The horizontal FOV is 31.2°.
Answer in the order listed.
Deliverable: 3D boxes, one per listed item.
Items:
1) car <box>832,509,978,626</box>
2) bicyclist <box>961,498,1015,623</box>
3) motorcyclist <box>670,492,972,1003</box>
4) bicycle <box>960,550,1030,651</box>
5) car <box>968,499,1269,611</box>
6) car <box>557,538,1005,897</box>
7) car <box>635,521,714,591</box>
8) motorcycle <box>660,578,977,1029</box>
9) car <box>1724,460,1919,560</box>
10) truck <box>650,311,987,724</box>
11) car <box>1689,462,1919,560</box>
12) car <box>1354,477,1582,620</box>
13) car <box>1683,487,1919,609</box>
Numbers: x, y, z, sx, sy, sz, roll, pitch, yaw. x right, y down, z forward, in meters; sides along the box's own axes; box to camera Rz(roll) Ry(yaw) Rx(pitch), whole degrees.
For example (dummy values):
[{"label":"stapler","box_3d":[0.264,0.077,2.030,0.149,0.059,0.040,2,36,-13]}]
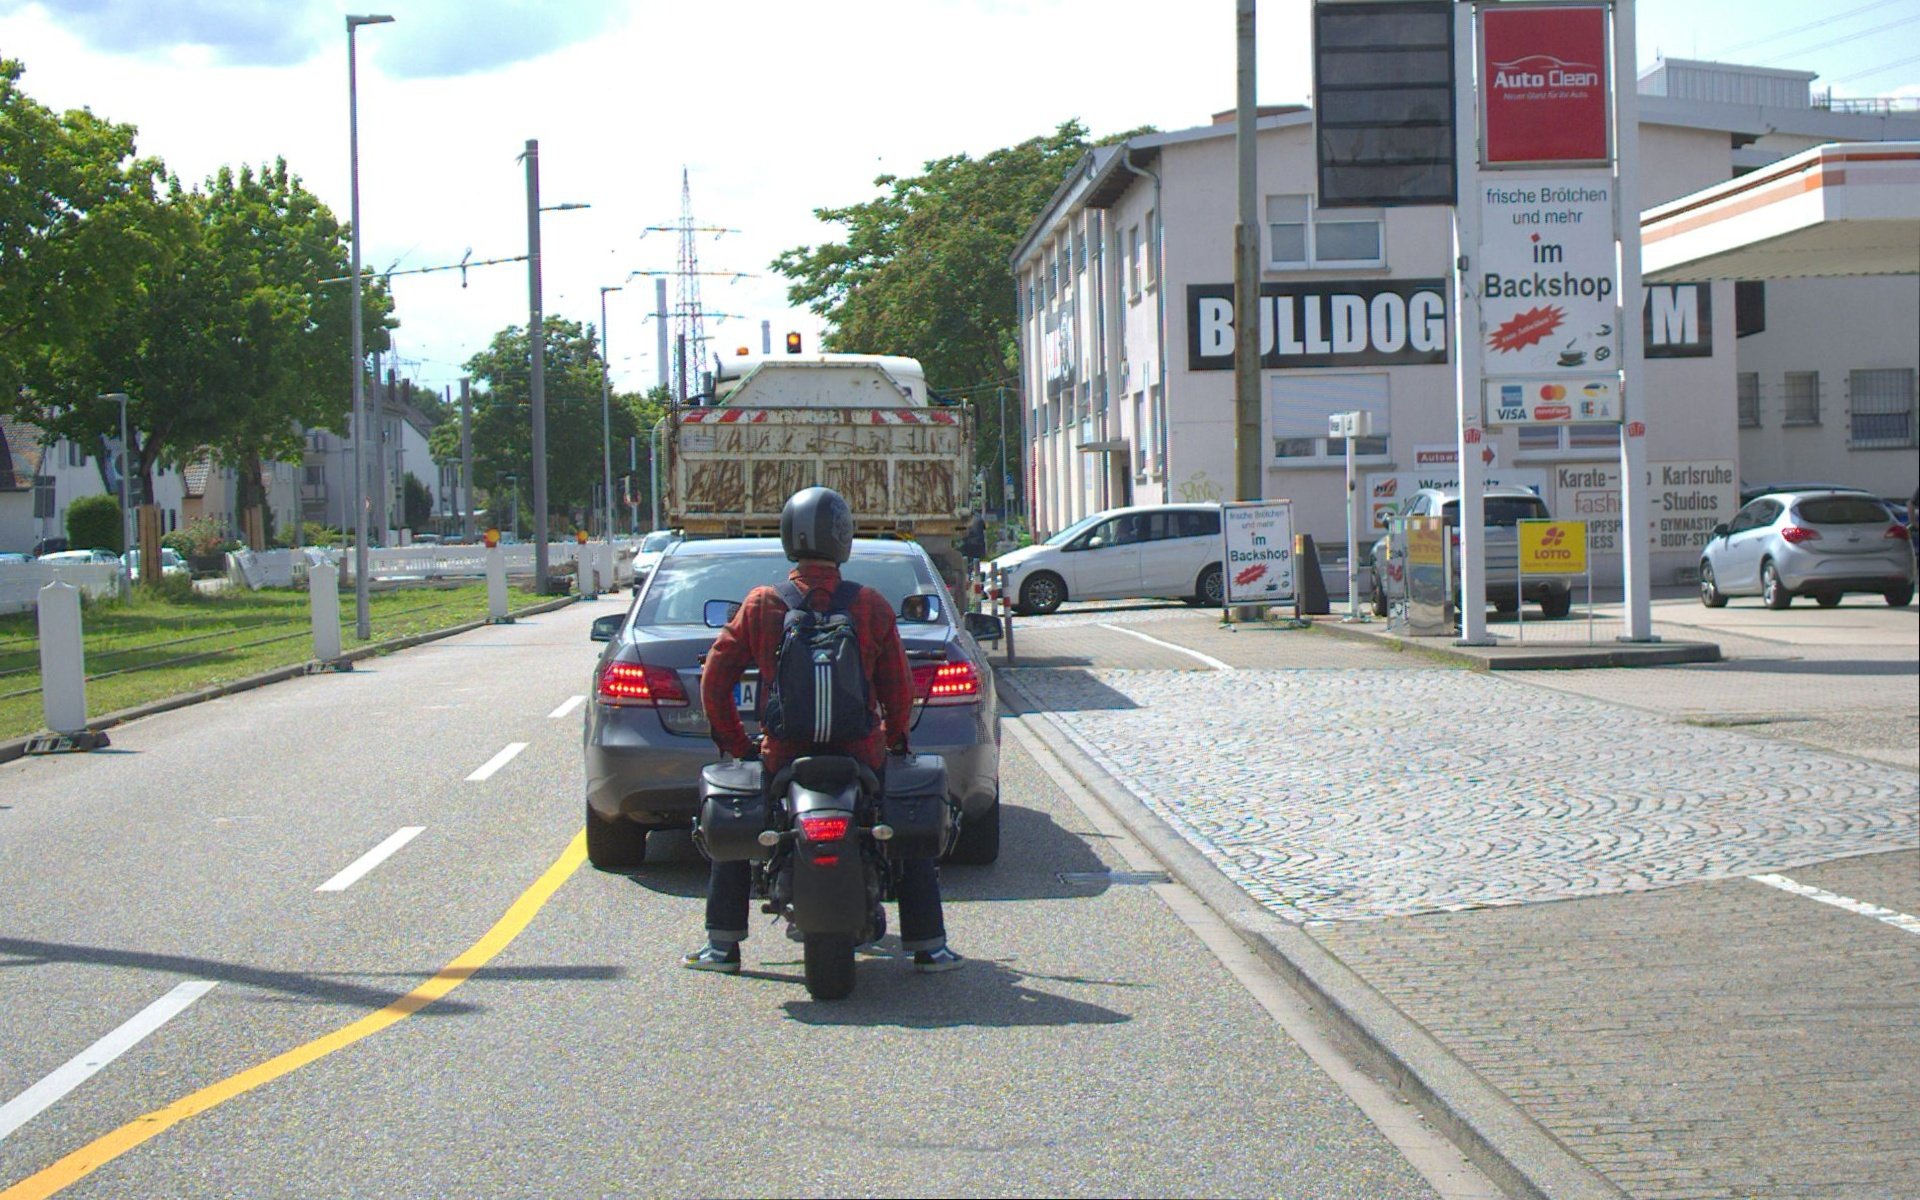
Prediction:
[{"label":"car","box_3d":[-0.739,-0.464,45.331,1.821,1.459,4.001,-1,1,-1]},{"label":"bicyclist","box_3d":[0.392,-0.558,48.561,0.671,1.738,0.814,-1,1,-2]},{"label":"motorcyclist","box_3d":[-0.461,0.458,11.482,0.939,1.609,1.205,1,1,-2]},{"label":"bicycle","box_3d":[0.484,-0.011,48.619,0.692,1.357,2.419,-2,2,-6]},{"label":"car","box_3d":[2.452,-0.704,53.684,4.329,1.546,1.950,-2,1,-10]},{"label":"car","box_3d":[-0.802,0.447,16.131,1.821,1.419,4.001,-1,1,-2]},{"label":"car","box_3d":[-6.391,-1.003,77.254,1.654,1.442,4.304,-2,2,-4]},{"label":"motorcycle","box_3d":[-0.472,0.606,11.666,0.939,1.316,2.645,1,1,-2]},{"label":"car","box_3d":[15.853,-1.613,61.180,3.986,1.643,1.966,-2,1,-2]},{"label":"truck","box_3d":[-1.253,-0.870,32.439,2.610,3.244,9.183,-2,3,-1]},{"label":"car","box_3d":[15.759,-1.647,63.724,3.986,1.643,1.966,-2,1,-2]},{"label":"car","box_3d":[6.308,-0.643,43.111,1.959,1.643,4.001,-2,1,-4]},{"label":"car","box_3d":[10.796,-0.668,43.948,1.959,1.415,4.001,-2,1,-4]}]
